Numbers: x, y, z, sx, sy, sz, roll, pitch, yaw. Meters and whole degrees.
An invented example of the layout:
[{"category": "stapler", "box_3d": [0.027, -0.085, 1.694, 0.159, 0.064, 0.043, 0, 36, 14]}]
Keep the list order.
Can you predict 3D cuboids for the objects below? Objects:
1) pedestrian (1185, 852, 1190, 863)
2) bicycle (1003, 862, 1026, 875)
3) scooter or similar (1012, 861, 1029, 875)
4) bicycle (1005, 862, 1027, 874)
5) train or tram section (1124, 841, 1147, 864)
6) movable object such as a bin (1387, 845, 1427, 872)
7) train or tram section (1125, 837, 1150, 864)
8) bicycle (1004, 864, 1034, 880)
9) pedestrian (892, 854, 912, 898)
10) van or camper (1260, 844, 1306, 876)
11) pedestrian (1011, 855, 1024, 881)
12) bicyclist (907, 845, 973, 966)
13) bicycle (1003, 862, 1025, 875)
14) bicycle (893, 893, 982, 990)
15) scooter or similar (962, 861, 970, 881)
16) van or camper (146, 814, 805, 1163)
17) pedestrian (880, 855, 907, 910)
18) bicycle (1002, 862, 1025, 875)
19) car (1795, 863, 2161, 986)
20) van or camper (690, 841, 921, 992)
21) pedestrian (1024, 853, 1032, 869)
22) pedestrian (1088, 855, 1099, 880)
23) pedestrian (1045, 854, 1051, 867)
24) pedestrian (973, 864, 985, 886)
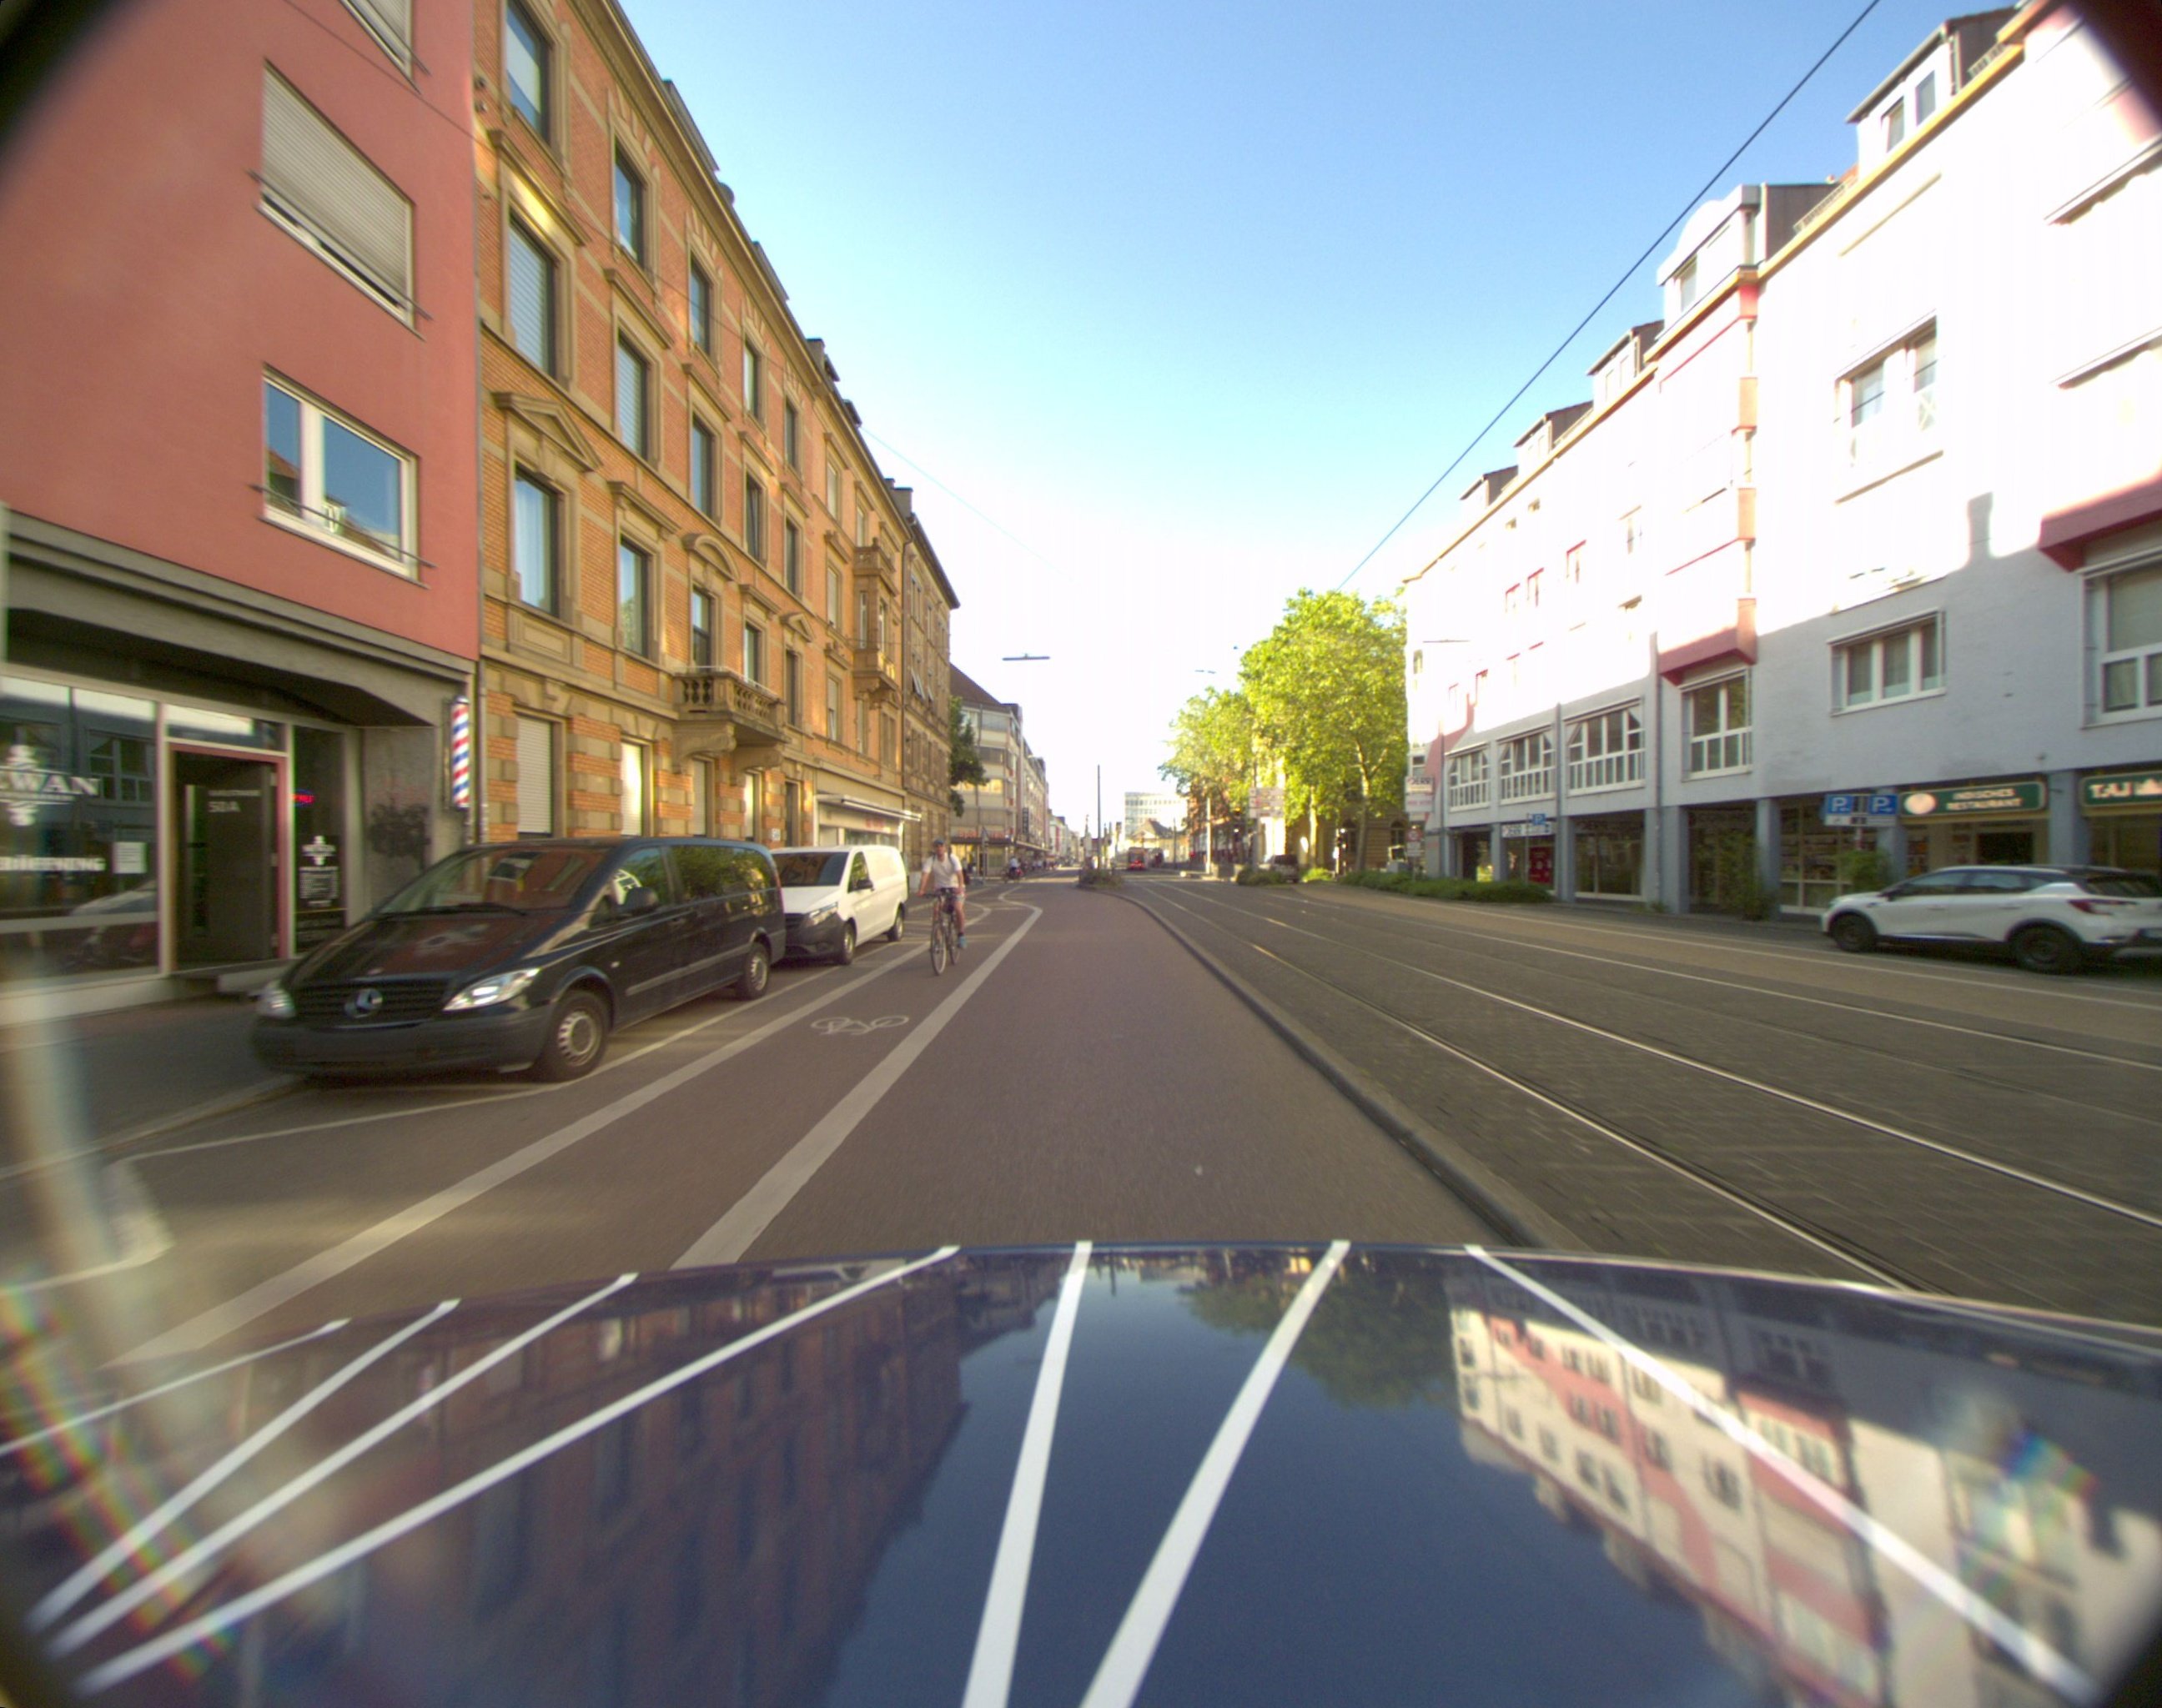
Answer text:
[{"category": "pedestrian", "box_3d": [19.042, 0.673, 135.920, 0.791, 1.905, 0.665, 0, 0, -1]}, {"category": "bicycle", "box_3d": [-5.922, 1.299, 67.744, 1.950, 1.159, 0.628, 0, 0, -1]}, {"category": "scooter or similar", "box_3d": [-5.581, 1.243, 69.663, 1.482, 1.222, 0.591, 2, 0, 1]}, {"category": "bicycle", "box_3d": [-5.937, 1.263, 69.013, 1.950, 1.100, 0.564, 0, 0, -1]}, {"category": "train or tram section", "box_3d": [9.152, -0.275, 129.284, 2.981, 3.623, 13.944, -2, 0, 1]}, {"category": "movable object such as a bin", "box_3d": [23.935, 0.323, 55.814, 2.643, 2.002, 1.177, 0, 0, 24]}, {"category": "train or tram section", "box_3d": [8.373, -0.341, 114.112, 2.981, 3.622, 16.489, -2, -1, 2]}, {"category": "bicycle", "box_3d": [-4.322, 1.271, 53.072, 1.942, 1.088, 0.599, 0, 0, 9]}, {"category": "pedestrian", "box_3d": [-7.185, 0.874, 30.461, 0.469, 1.718, 0.589, 0, 0, 37]}, {"category": "van or camper", "box_3d": [13.367, 0.375, 50.608, 1.998, 1.929, 4.835, 2, 0, 3]}, {"category": "pedestrian", "box_3d": [-4.435, 0.953, 53.106, 0.594, 1.811, 0.942, -2, 0, 8]}, {"category": "bicyclist", "box_3d": [-1.992, 0.708, 10.846, 0.656, 1.646, 0.928, -1, 1, 6]}, {"category": "bicycle", "box_3d": [-5.902, 1.278, 66.983, 1.950, 1.100, 0.564, 0, 0, -1]}, {"category": "bicycle", "box_3d": [-1.988, 1.184, 10.825, 0.649, 1.132, 2.096, -1, 0, 6]}, {"category": "scooter or similar", "box_3d": [-7.816, 1.152, 51.532, 0.392, 1.281, 1.520, 0, 0, -15]}, {"category": "van or camper", "box_3d": [-4.598, 0.802, 7.239, 1.976, 2.033, 5.330, -2, 0, -1]}, {"category": "pedestrian", "box_3d": [-6.184, 0.930, 25.122, 0.674, 1.803, 0.756, 0, 1, 0]}, {"category": "bicycle", "box_3d": [-5.880, 1.281, 66.335, 1.950, 1.100, 0.564, 0, 0, -1]}, {"category": "car", "box_3d": [14.833, 0.979, 12.527, 1.922, 1.604, 4.369, 0, 0, -2]}, {"category": "van or camper", "box_3d": [-4.384, 0.837, 13.251, 1.936, 2.025, 5.474, -2, 1, 0]}, {"category": "pedestrian", "box_3d": [-5.613, 0.736, 80.025, 0.746, 1.717, 0.814, -2, 1, 1]}, {"category": "pedestrian", "box_3d": [0.786, 0.863, 49.639, 0.519, 1.581, 0.667, -4, 1, -9]}, {"category": "pedestrian", "box_3d": [-4.452, 0.905, 102.629, 0.669, 1.718, 0.810, 2, 0, 0]}, {"category": "pedestrian", "box_3d": [-6.540, 1.347, 48.760, 0.581, 1.406, 0.575, -2, 1, -22]}]
